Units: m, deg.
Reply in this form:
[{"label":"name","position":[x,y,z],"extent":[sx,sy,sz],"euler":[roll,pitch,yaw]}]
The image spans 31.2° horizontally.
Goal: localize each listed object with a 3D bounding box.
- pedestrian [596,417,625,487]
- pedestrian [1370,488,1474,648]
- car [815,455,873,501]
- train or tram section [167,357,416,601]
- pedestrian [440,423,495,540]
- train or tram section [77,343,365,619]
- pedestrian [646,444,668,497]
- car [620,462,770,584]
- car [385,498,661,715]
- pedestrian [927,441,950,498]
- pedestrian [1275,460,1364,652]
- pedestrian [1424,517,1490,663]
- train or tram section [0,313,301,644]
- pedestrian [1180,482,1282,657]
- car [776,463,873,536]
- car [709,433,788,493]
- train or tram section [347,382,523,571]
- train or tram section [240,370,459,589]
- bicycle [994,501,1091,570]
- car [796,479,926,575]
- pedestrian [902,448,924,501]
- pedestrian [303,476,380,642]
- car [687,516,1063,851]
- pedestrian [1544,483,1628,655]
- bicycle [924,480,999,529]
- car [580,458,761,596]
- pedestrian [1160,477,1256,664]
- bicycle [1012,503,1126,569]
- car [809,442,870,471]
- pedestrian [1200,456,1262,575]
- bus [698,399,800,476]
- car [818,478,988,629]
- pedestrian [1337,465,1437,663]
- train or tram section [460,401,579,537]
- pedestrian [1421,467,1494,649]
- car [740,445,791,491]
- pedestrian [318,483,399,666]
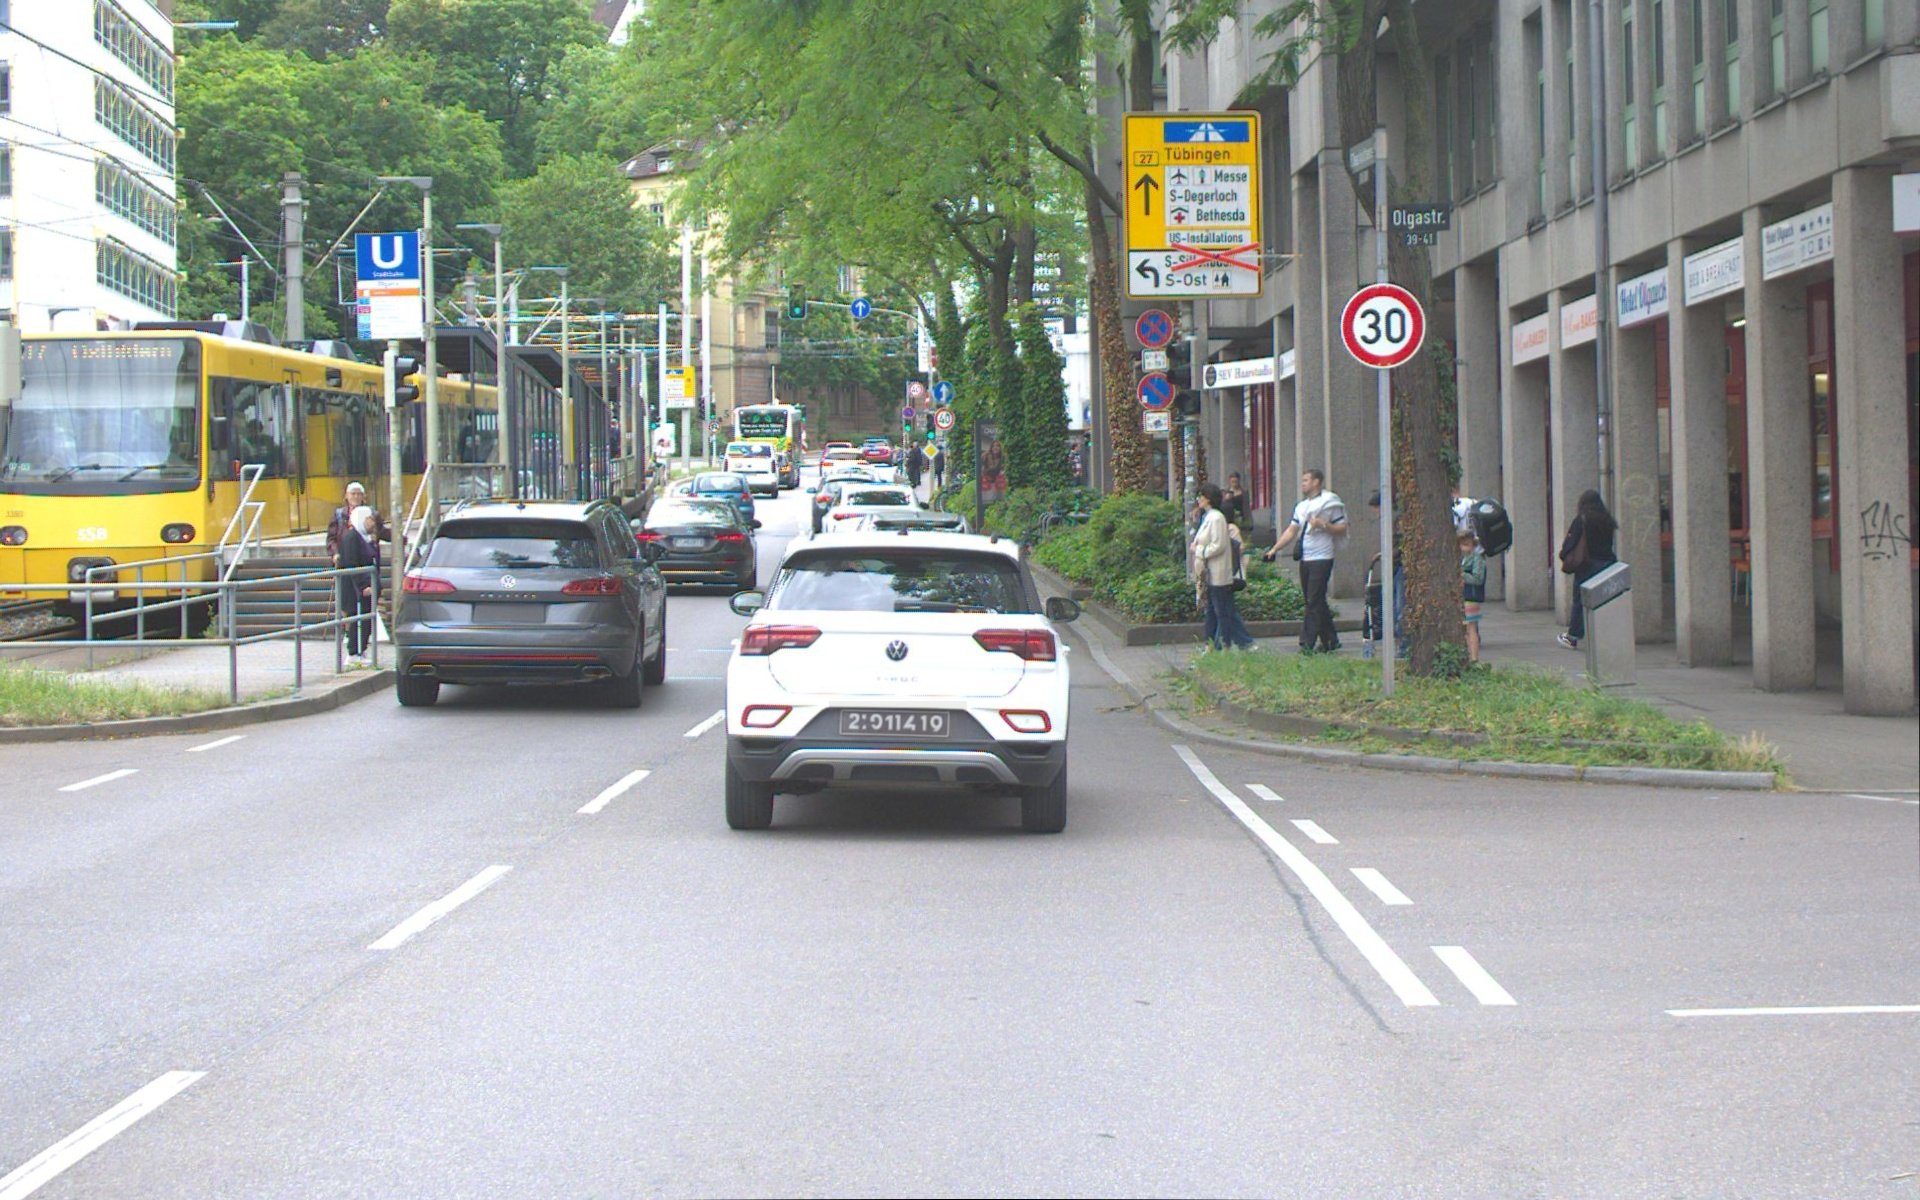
[{"label":"pedestrian","position":[-10.159,-4.288,99.844],"extent":[0.762,2.007,0.838],"euler":[1,1,-9]},{"label":"pedestrian","position":[4.560,-0.316,33.953],"extent":[0.835,1.557,0.764],"euler":[1,1,-6]},{"label":"car","position":[-4.520,-4.734,133.591],"extent":[1.884,1.678,4.162],"euler":[1,1,-7]},{"label":"train or tram section","position":[-10.182,-1.852,52.896],"extent":[2.835,3.508,5.753],"euler":[1,2,-2]},{"label":"pedestrian","position":[-7.365,-1.769,51.407],"extent":[0.717,1.725,0.671],"euler":[1,1,-1]},{"label":"train or tram section","position":[-10.018,-1.621,47.146],"extent":[2.835,3.508,5.753],"euler":[1,2,-2]},{"label":"pedestrian","position":[-11.657,-4.972,132.355],"extent":[0.762,2.007,0.838],"euler":[1,1,-2]},{"label":"car","position":[-3.909,-1.187,51.301],"extent":[1.912,1.683,4.001],"euler":[1,3,0]},{"label":"car","position":[-3.580,-0.007,28.815],"extent":[1.993,1.630,4.001],"euler":[0,2,-3]},{"label":"pedestrian","position":[-0.767,-4.668,123.338],"extent":[0.762,2.007,0.838],"euler":[1,1,3]},{"label":"pedestrian","position":[3.544,-0.433,33.913],"extent":[0.733,1.868,0.733],"euler":[0,1,-6]},{"label":"pedestrian","position":[4.562,-0.096,31.578],"extent":[0.471,1.329,0.520],"euler":[1,1,-6]},{"label":"train or tram section","position":[-9.847,-1.454,41.383],"extent":[2.835,3.666,5.753],"euler":[1,2,-2]},{"label":"pedestrian","position":[2.715,-0.315,34.521],"extent":[0.835,1.698,0.764],"euler":[-2,2,-6]},{"label":"car","position":[-3.957,-2.889,99.556],"extent":[2.364,2.007,5.149],"euler":[1,1,-7]},{"label":"car","position":[-7.572,-4.895,123.551],"extent":[2.365,2.007,5.148],"euler":[1,1,1]},{"label":"train or tram section","position":[-10.649,-2.517,70.265],"extent":[2.813,3.653,5.903],"euler":[1,2,-2]},{"label":"train or tram section","position":[-10.323,-2.055,58.675],"extent":[2.835,3.508,5.753],"euler":[1,2,-2]},{"label":"bicycle","position":[1.429,-1.115,59.553],"extent":[1.620,1.124,0.613],"euler":[-2,2,2]},{"label":"car","position":[-1.864,-1.341,63.654],"extent":[1.884,1.678,4.162],"euler":[1,1,-9]},{"label":"pedestrian","position":[-1.792,-4.804,131.938],"extent":[0.762,2.007,0.838],"euler":[1,1,3]},{"label":"pedestrian","position":[-6.422,-0.432,35.745],"extent":[0.685,1.705,0.712],"euler":[0,2,-2]},{"label":"car","position":[-0.364,0.362,19.049],"extent":[1.837,1.578,4.157],"euler":[1,2,2]},{"label":"pedestrian","position":[6.045,-0.302,33.241],"extent":[0.762,1.606,0.618],"euler":[-1,4,10]},{"label":"bicycle","position":[0.042,-2.547,91.479],"extent":[1.881,1.262,0.764],"euler":[1,1,9]},{"label":"car","position":[-4.416,-1.117,53.221],"extent":[2.364,2.007,5.148],"euler":[1,1,0]},{"label":"pedestrian","position":[2.422,-0.294,33.680],"extent":[0.693,1.771,0.690],"euler":[-5,2,-6]},{"label":"bicycle","position":[1.928,-1.139,60.788],"extent":[1.915,1.073,0.613],"euler":[-2,2,-4]},{"label":"car","position":[-5.413,-6.455,155.054],"extent":[1.583,1.168,3.675],"euler":[1,1,18]},{"label":"pedestrian","position":[4.215,-1.320,53.434],"extent":[0.762,1.776,0.848],"euler":[-2,4,-7]},{"label":"bus","position":[-9.708,-7.320,156.680],"extent":[3.371,3.054,13.328],"euler":[1,1,-9]},{"label":"car","position":[-0.726,-0.559,40.773],"extent":[1.884,1.678,4.162],"euler":[1,1,-2]},{"label":"pedestrian","position":[4.029,-0.349,32.466],"extent":[0.721,1.796,0.835],"euler":[-2,4,-6]},{"label":"train or tram section","position":[-12.429,-3.695,97.425],"extent":[2.813,3.653,6.753],"euler":[1,2,-3]},{"label":"pedestrian","position":[4.941,-0.422,34.170],"extent":[0.518,1.783,0.764],"euler":[1,1,-6]},{"label":"car","position":[-7.610,-5.149,134.699],"extent":[1.884,1.678,4.162],"euler":[1,1,-2]},{"label":"pedestrian","position":[-5.687,-0.252,32.548],"extent":[0.635,1.705,0.872],"euler":[0,2,-2]}]
